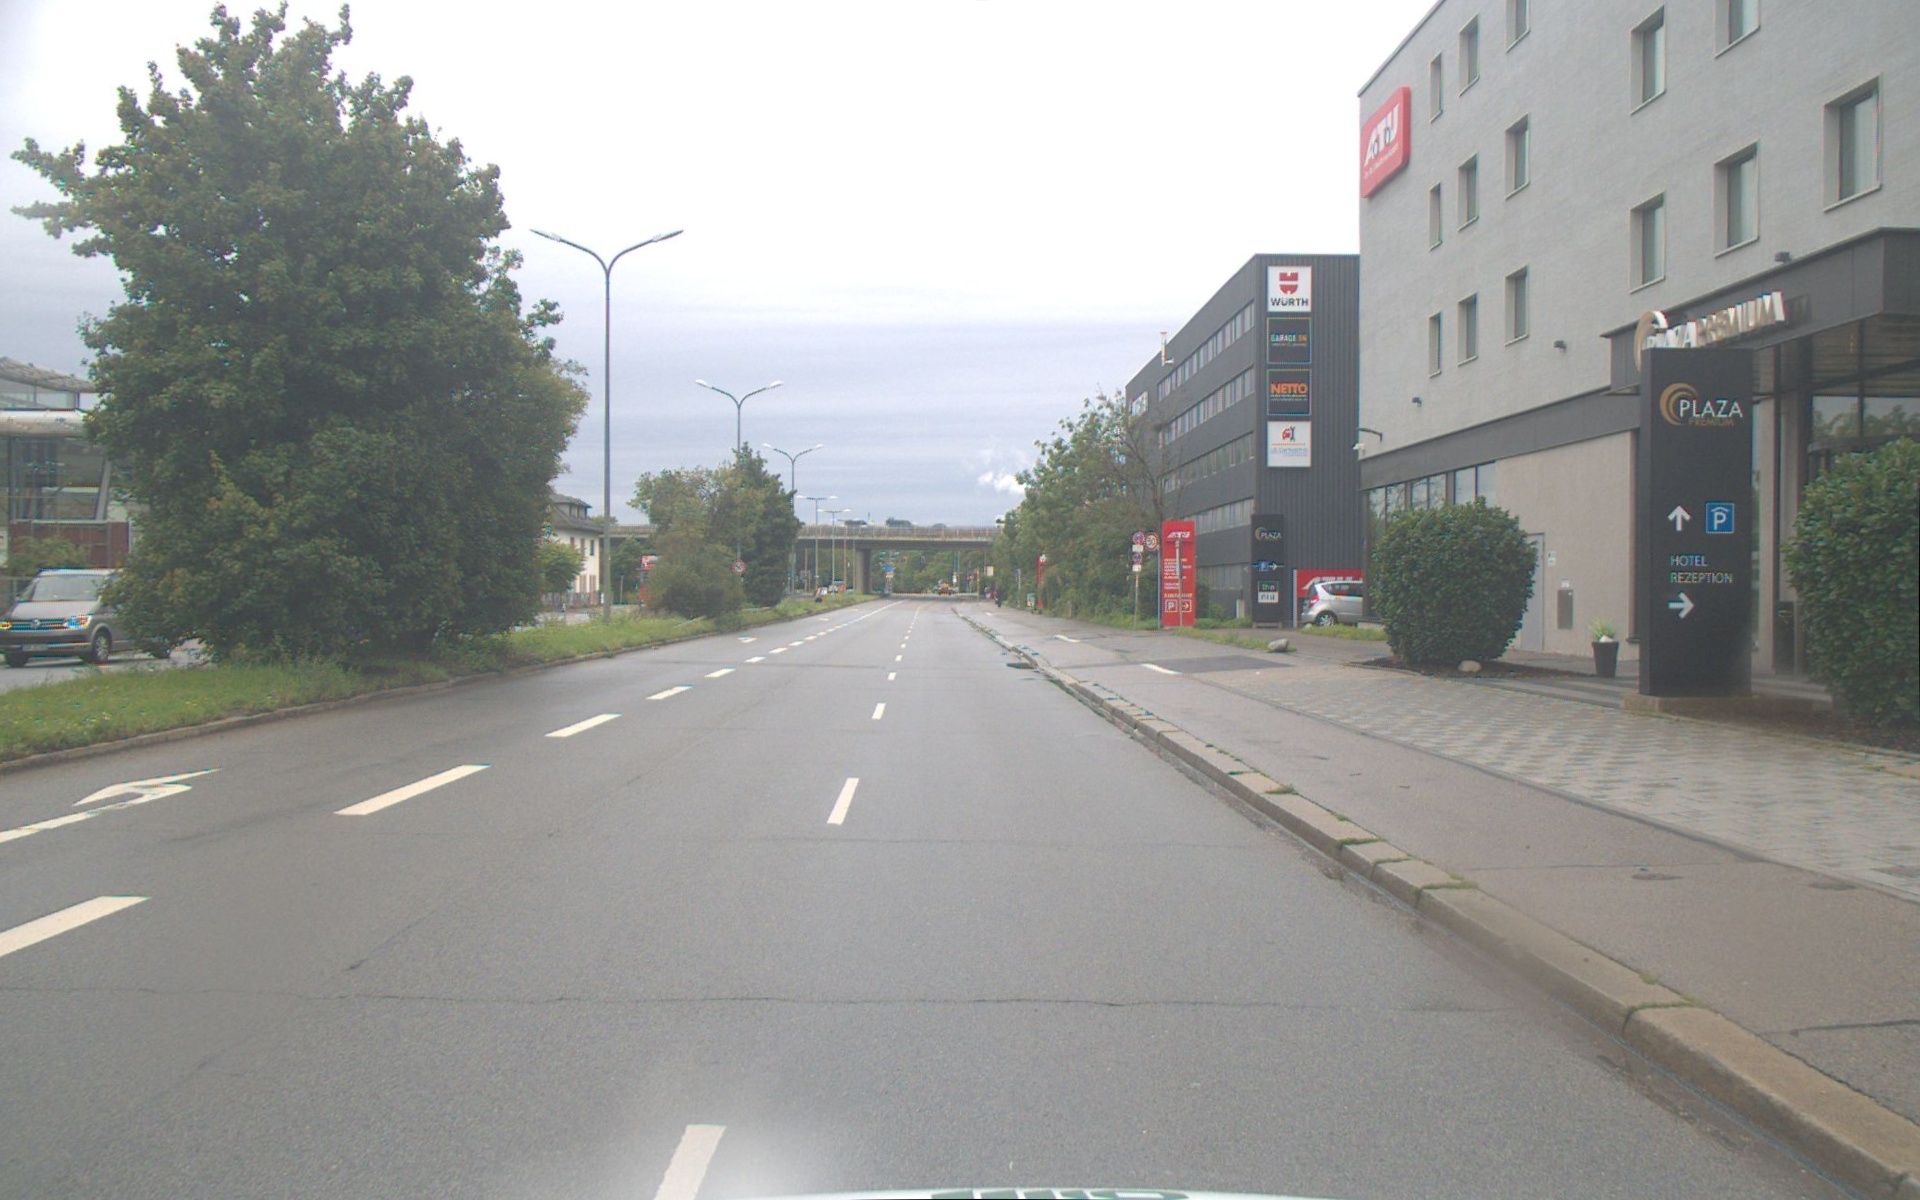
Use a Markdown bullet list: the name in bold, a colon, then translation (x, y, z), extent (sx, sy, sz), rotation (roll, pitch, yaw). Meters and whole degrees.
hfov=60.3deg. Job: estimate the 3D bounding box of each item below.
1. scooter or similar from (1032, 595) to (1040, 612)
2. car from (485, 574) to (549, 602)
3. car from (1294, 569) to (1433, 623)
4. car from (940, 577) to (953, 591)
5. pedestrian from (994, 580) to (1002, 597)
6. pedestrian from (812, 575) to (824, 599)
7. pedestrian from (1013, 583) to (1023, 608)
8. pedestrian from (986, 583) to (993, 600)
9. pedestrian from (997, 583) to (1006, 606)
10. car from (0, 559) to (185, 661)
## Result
- **scooter or similar**: translation (4.750, 0.210, 103.498), extent (0.298, 1.021, 1.219), rotation (-1, 0, -4)
- **car**: translation (-29.791, -0.801, 111.331), extent (4.071, 1.738, 1.843), rotation (-1, 0, -14)
- **car**: translation (12.653, -0.131, 52.000), extent (3.931, 1.585, 1.820), rotation (1, 0, 0)
- **car**: translation (-1.998, -2.426, 247.666), extent (1.775, 2.049, 3.834), rotation (1, 1, 0)
- **pedestrian**: translation (3.730, -1.093, 161.951), extent (0.675, 1.645, 0.662), rotation (-1, 0, -2)
- **pedestrian**: translation (-10.011, -0.907, 116.595), extent (0.646, 1.645, 0.691), rotation (-1, 0, 4)
- **pedestrian**: translation (4.475, -0.327, 126.898), extent (0.675, 1.909, 0.662), rotation (-1, 0, -2)
- **pedestrian**: translation (2.883, -0.800, 162.901), extent (0.675, 1.645, 0.662), rotation (-1, 0, -2)
- **pedestrian**: translation (3.410, -0.468, 137.328), extent (0.675, 1.909, 0.662), rotation (-1, 0, -2)
- **car**: translation (-18.329, 0.178, 34.958), extent (1.953, 1.995, 4.322), rotation (-1, 1, -2)
